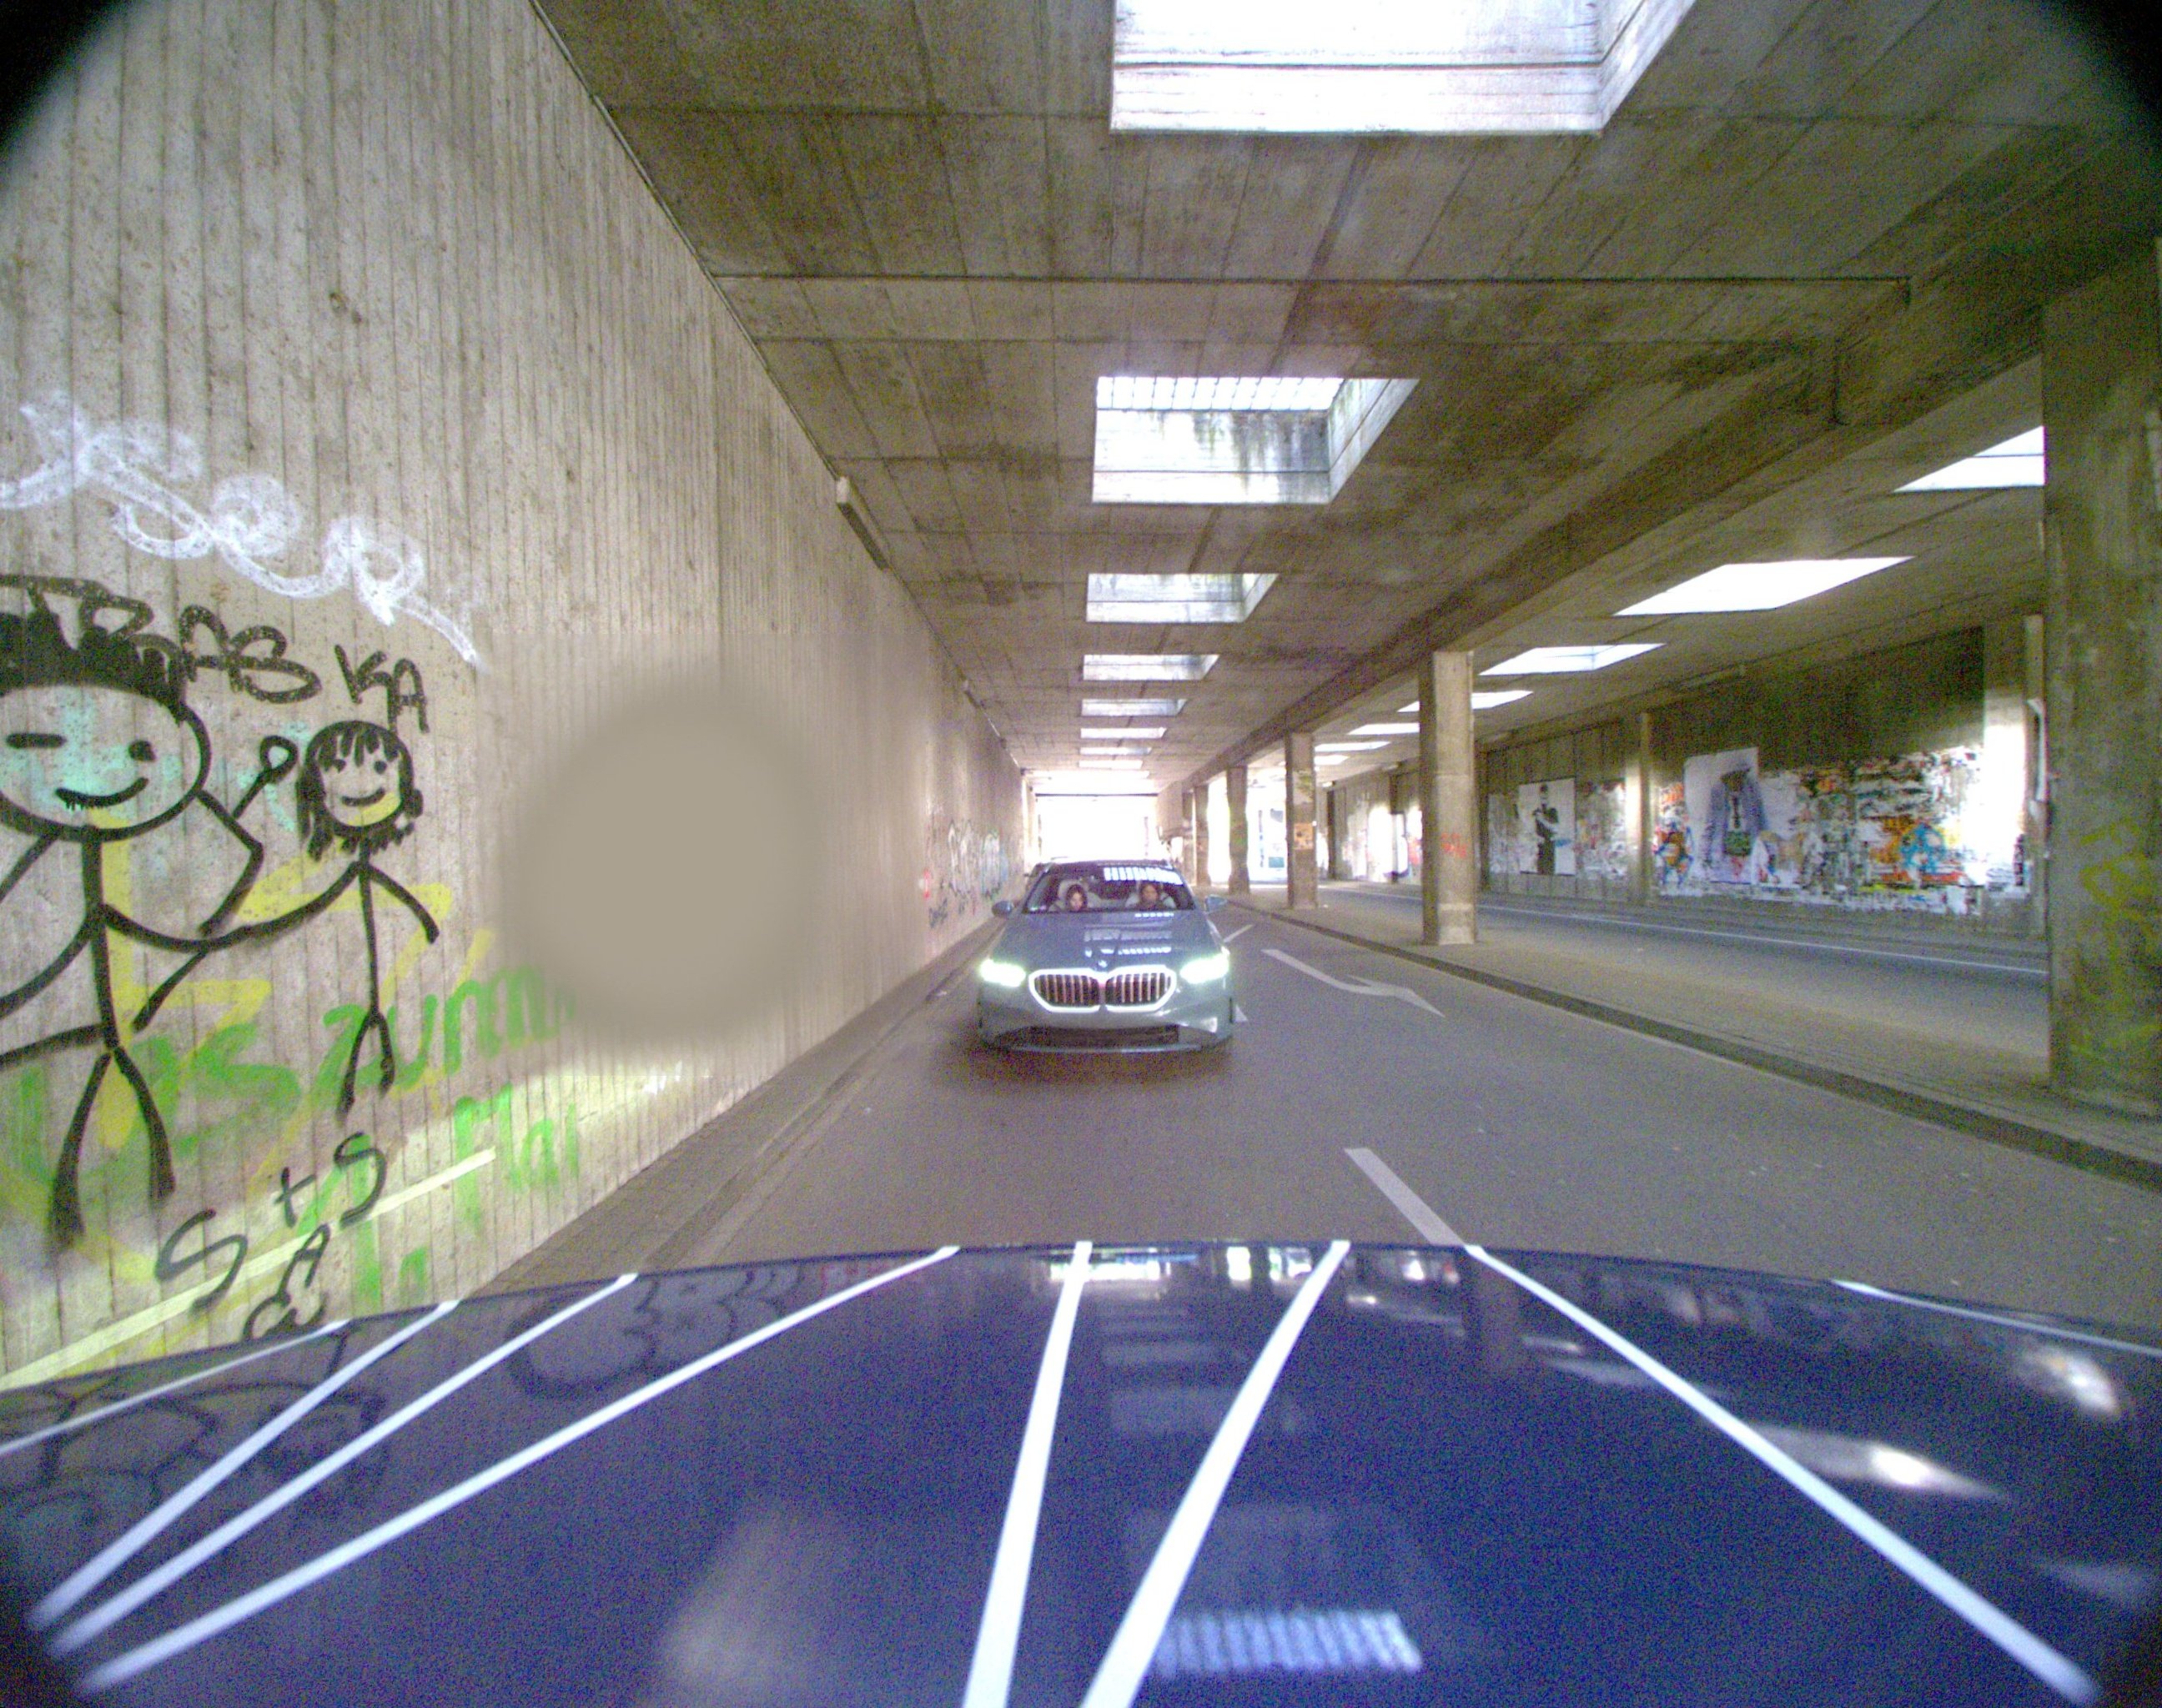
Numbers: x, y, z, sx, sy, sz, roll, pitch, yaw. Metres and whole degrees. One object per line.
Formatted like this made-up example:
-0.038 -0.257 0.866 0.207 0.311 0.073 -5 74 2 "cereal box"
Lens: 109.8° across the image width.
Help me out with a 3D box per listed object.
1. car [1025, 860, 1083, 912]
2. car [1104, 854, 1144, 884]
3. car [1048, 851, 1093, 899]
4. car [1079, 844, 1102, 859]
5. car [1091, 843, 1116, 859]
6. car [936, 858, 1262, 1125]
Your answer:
-0.783 0.945 23.900 1.593 1.387 3.833 -2 0 1 "car"
2.252 0.779 40.896 1.784 1.438 4.178 -3 0 0 "car"
-0.358 0.764 29.906 1.581 1.676 4.078 -2 0 1 "car"
1.230 -0.345 103.550 2.361 2.002 5.146 -1 0 -8 "car"
2.883 -0.338 97.537 2.361 2.002 5.146 -1 0 -8 "car"
0.190 0.880 7.325 1.998 1.594 5.176 -1 0 2 "car"
